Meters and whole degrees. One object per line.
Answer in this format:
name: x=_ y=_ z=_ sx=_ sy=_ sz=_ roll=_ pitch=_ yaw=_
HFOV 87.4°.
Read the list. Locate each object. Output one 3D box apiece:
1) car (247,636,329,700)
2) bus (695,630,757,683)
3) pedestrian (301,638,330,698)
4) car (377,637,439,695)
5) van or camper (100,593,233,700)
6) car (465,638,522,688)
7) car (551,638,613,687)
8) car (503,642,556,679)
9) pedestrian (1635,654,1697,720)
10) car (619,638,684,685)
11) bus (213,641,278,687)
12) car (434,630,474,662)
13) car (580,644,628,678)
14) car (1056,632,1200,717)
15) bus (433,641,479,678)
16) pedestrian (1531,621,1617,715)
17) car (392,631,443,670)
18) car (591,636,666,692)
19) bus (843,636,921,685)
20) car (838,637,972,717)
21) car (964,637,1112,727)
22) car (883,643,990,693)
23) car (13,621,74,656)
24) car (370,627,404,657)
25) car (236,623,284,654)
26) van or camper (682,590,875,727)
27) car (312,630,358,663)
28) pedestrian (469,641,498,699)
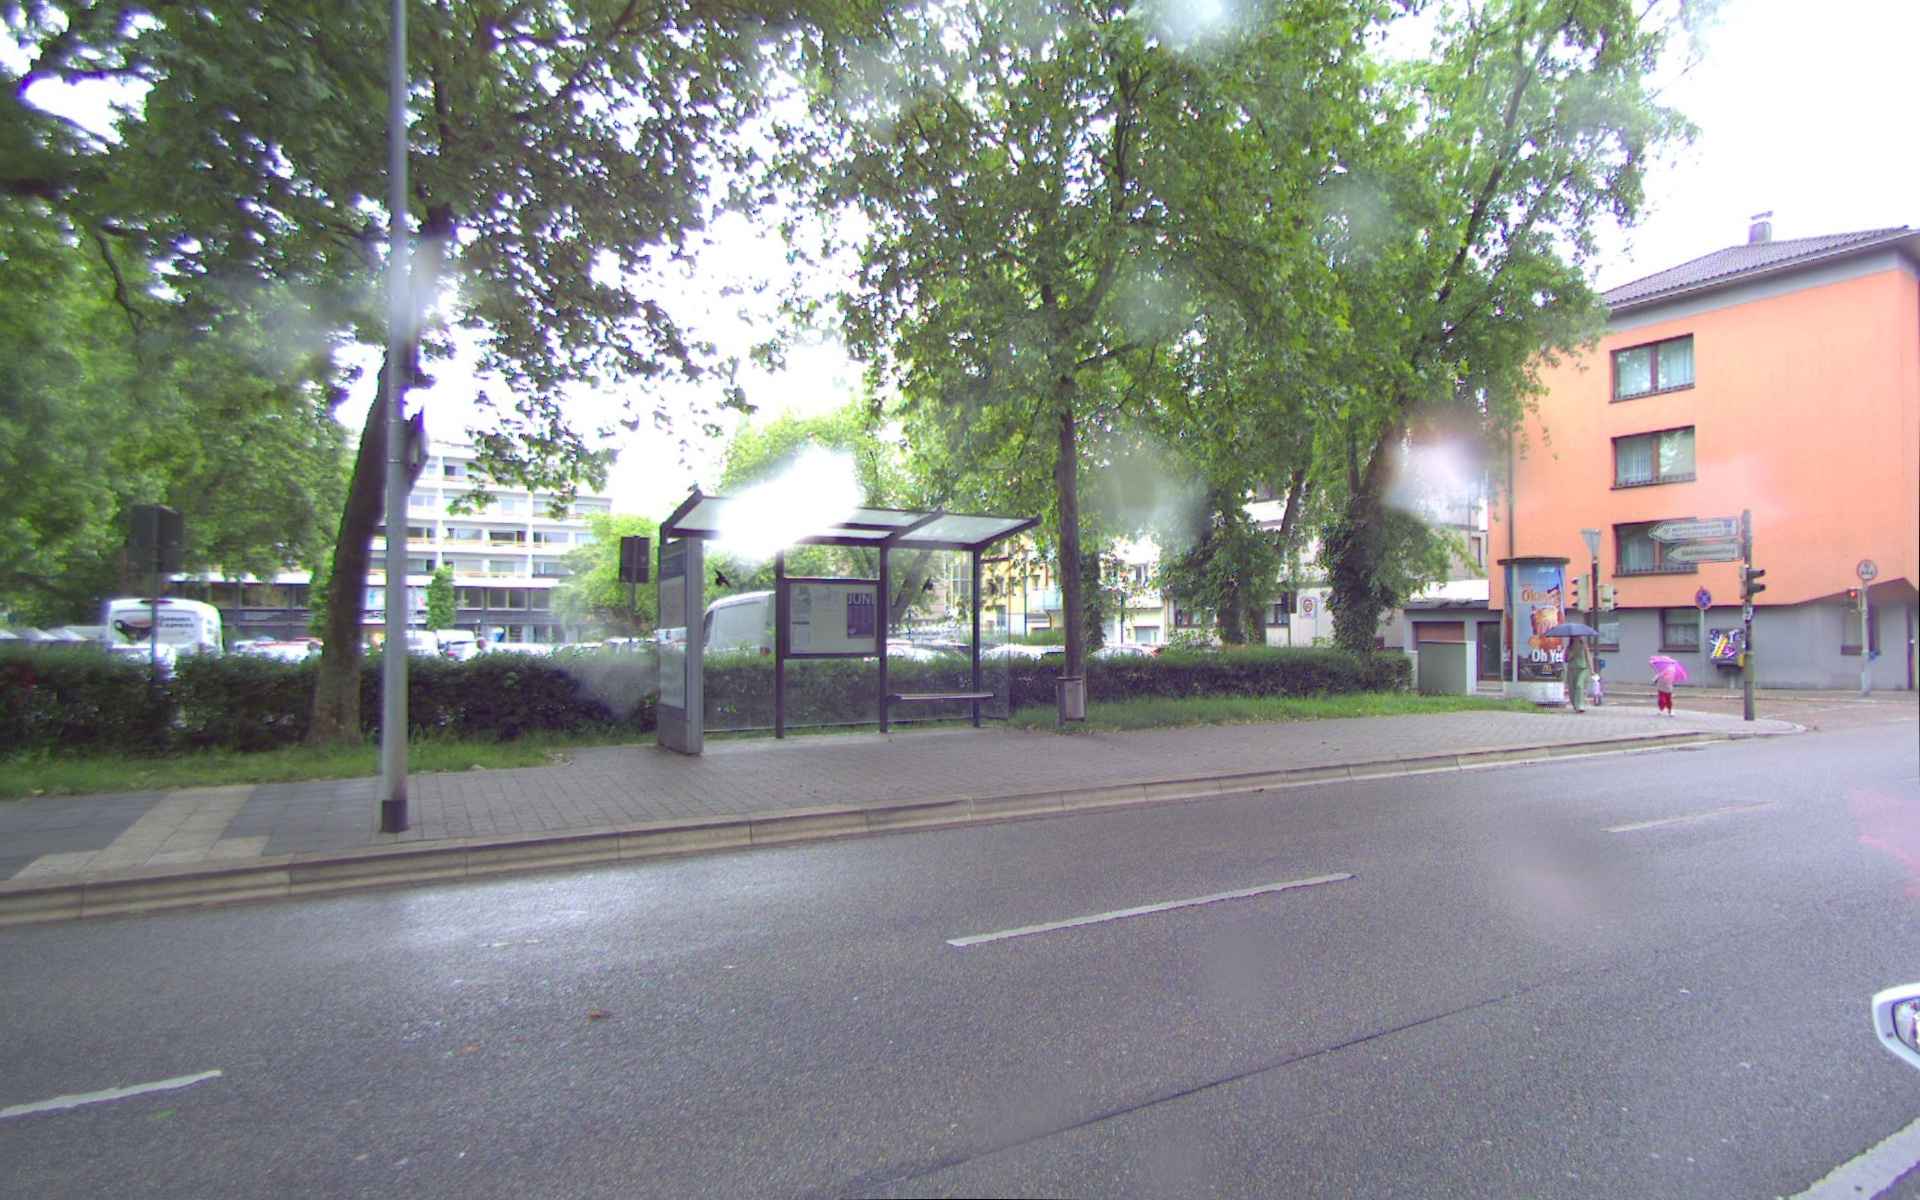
car: x=-16.521 y=1.647 z=24.790 sx=1.375 sy=1.454 sz=3.248 roll=1 pitch=-3 yaw=-29
bus: x=-7.840 y=1.863 z=33.523 sx=1.363 sy=1.698 sz=2.779 roll=1 pitch=-3 yaw=-28
pedestrian: x=-13.626 y=1.422 z=21.247 sx=0.462 sy=1.229 sz=0.434 roll=2 pitch=0 yaw=-37
car: x=-14.743 y=1.725 z=26.851 sx=1.375 sy=1.454 sz=3.248 roll=1 pitch=-3 yaw=-29
van or camper: x=-20.708 y=1.216 z=26.423 sx=2.074 sy=2.570 sz=4.391 roll=1 pitch=-3 yaw=-30
car: x=-14.552 y=1.937 z=31.281 sx=1.375 sy=1.454 sz=3.248 roll=1 pitch=-3 yaw=-29
car: x=-11.968 y=1.948 z=31.681 sx=1.375 sy=1.454 sz=3.248 roll=1 pitch=-3 yaw=-29
car: x=-17.706 y=2.449 z=41.238 sx=1.587 sy=1.447 sz=3.293 roll=2 pitch=-3 yaw=-30
pedestrian: x=13.602 y=1.661 z=19.355 sx=0.817 sy=1.190 sz=0.681 roll=1 pitch=0 yaw=-30
car: x=-10.003 y=1.966 z=32.474 sx=1.375 sy=1.454 sz=3.248 roll=1 pitch=-3 yaw=-29
bus: x=-25.559 y=2.267 z=36.017 sx=1.587 sy=1.559 sz=3.403 roll=2 pitch=-3 yaw=-30
car: x=-27.181 y=2.451 z=53.942 sx=1.622 sy=1.544 sz=3.174 roll=2 pitch=0 yaw=-32
car: x=-15.207 y=2.575 z=42.829 sx=1.332 sy=1.401 sz=3.141 roll=2 pitch=-3 yaw=-30
car: x=3.778 y=1.653 z=23.031 sx=1.492 sy=1.545 sz=3.173 roll=2 pitch=2 yaw=-32
bus: x=-22.382 y=2.605 z=44.571 sx=1.587 sy=1.559 sz=3.403 roll=2 pitch=-3 yaw=-30
pedestrian: x=12.068 y=1.305 z=19.750 sx=1.195 sy=1.765 sz=0.987 roll=1 pitch=0 yaw=-30
car: x=-20.911 y=1.941 z=38.688 sx=1.587 sy=1.447 sz=3.293 roll=2 pitch=-3 yaw=-30
car: x=-9.122 y=1.724 z=27.506 sx=1.375 sy=1.454 sz=3.248 roll=1 pitch=-3 yaw=-29
bus: x=-2.473 y=1.875 z=31.549 sx=1.364 sy=1.451 sz=2.777 roll=2 pitch=-3 yaw=-30
car: x=-1.222 y=1.574 z=21.187 sx=1.492 sy=1.544 sz=3.175 roll=2 pitch=-3 yaw=-32
car: x=1.573 y=1.659 z=21.170 sx=1.492 sy=1.544 sz=3.174 roll=2 pitch=1 yaw=-32
car: x=-0.843 y=2.224 z=33.518 sx=1.799 sy=1.536 sz=3.965 roll=2 pitch=-3 yaw=-33
car: x=-40.860 y=1.686 z=44.830 sx=1.412 sy=1.447 sz=2.941 roll=1 pitch=0 yaw=-30
car: x=-33.053 y=2.392 z=57.916 sx=1.622 sy=1.544 sz=3.174 roll=1 pitch=1 yaw=-32
car: x=-33.346 y=1.852 z=47.920 sx=1.587 sy=1.447 sz=3.293 roll=2 pitch=-3 yaw=-30
van or camper: x=-3.494 y=1.056 z=18.658 sx=2.026 sy=2.198 sz=4.458 roll=2 pitch=-3 yaw=-32
car: x=-31.431 y=2.306 z=50.585 sx=1.818 sy=1.444 sz=3.799 roll=2 pitch=0 yaw=-31
pedestrian: x=-10.456 y=1.522 z=22.035 sx=0.462 sy=1.229 sz=0.434 roll=2 pitch=0 yaw=-37
